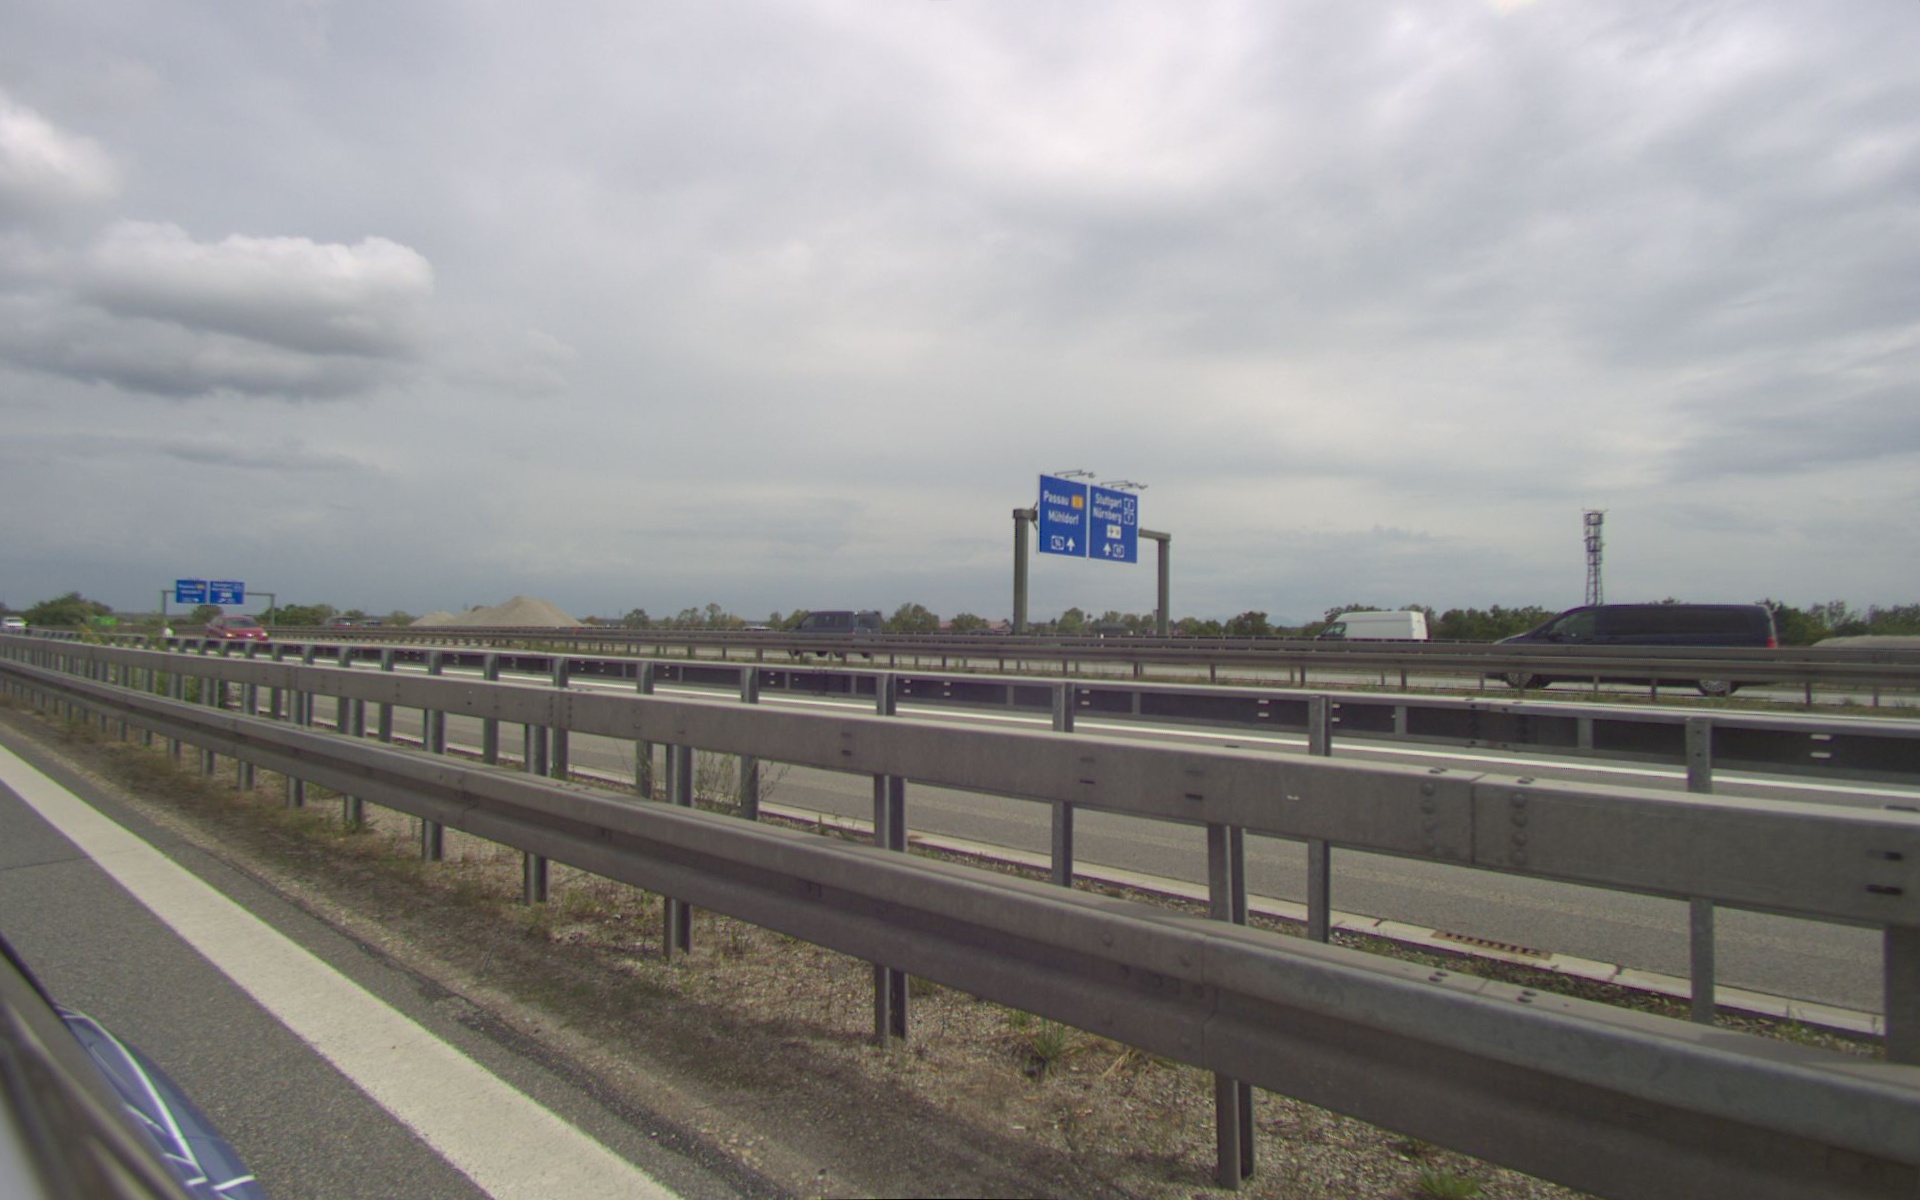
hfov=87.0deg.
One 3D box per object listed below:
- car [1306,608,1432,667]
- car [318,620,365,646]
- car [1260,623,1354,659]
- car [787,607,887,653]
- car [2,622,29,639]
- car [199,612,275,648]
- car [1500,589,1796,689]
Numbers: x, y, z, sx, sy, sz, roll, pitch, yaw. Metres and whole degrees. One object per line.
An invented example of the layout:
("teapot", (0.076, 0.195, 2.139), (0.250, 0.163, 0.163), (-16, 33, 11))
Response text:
("car", (17.105, 1.537, 42.427), (4.487, 2.323, 1.973), (-2, -1, 41))
("car", (-45.070, 2.427, 73.695), (4.000, 1.807, 1.889), (-2, -2, 43))
("car", (16.717, 1.947, 48.841), (3.908, 1.506, 1.649), (-1, 2, 41))
("car", (-5.323, 1.290, 43.462), (4.220, 1.829, 1.887), (-2, 0, 41))
("car", (-116.091, 3.759, 124.395), (4.463, 2.029, 1.973), (-2, -1, 41))
("car", (-33.438, 1.391, 46.765), (4.350, 1.557, 1.801), (-2, -1, 40))
("car", (14.236, 0.738, 21.153), (4.901, 1.821, 1.723), (-1, 1, 43))
